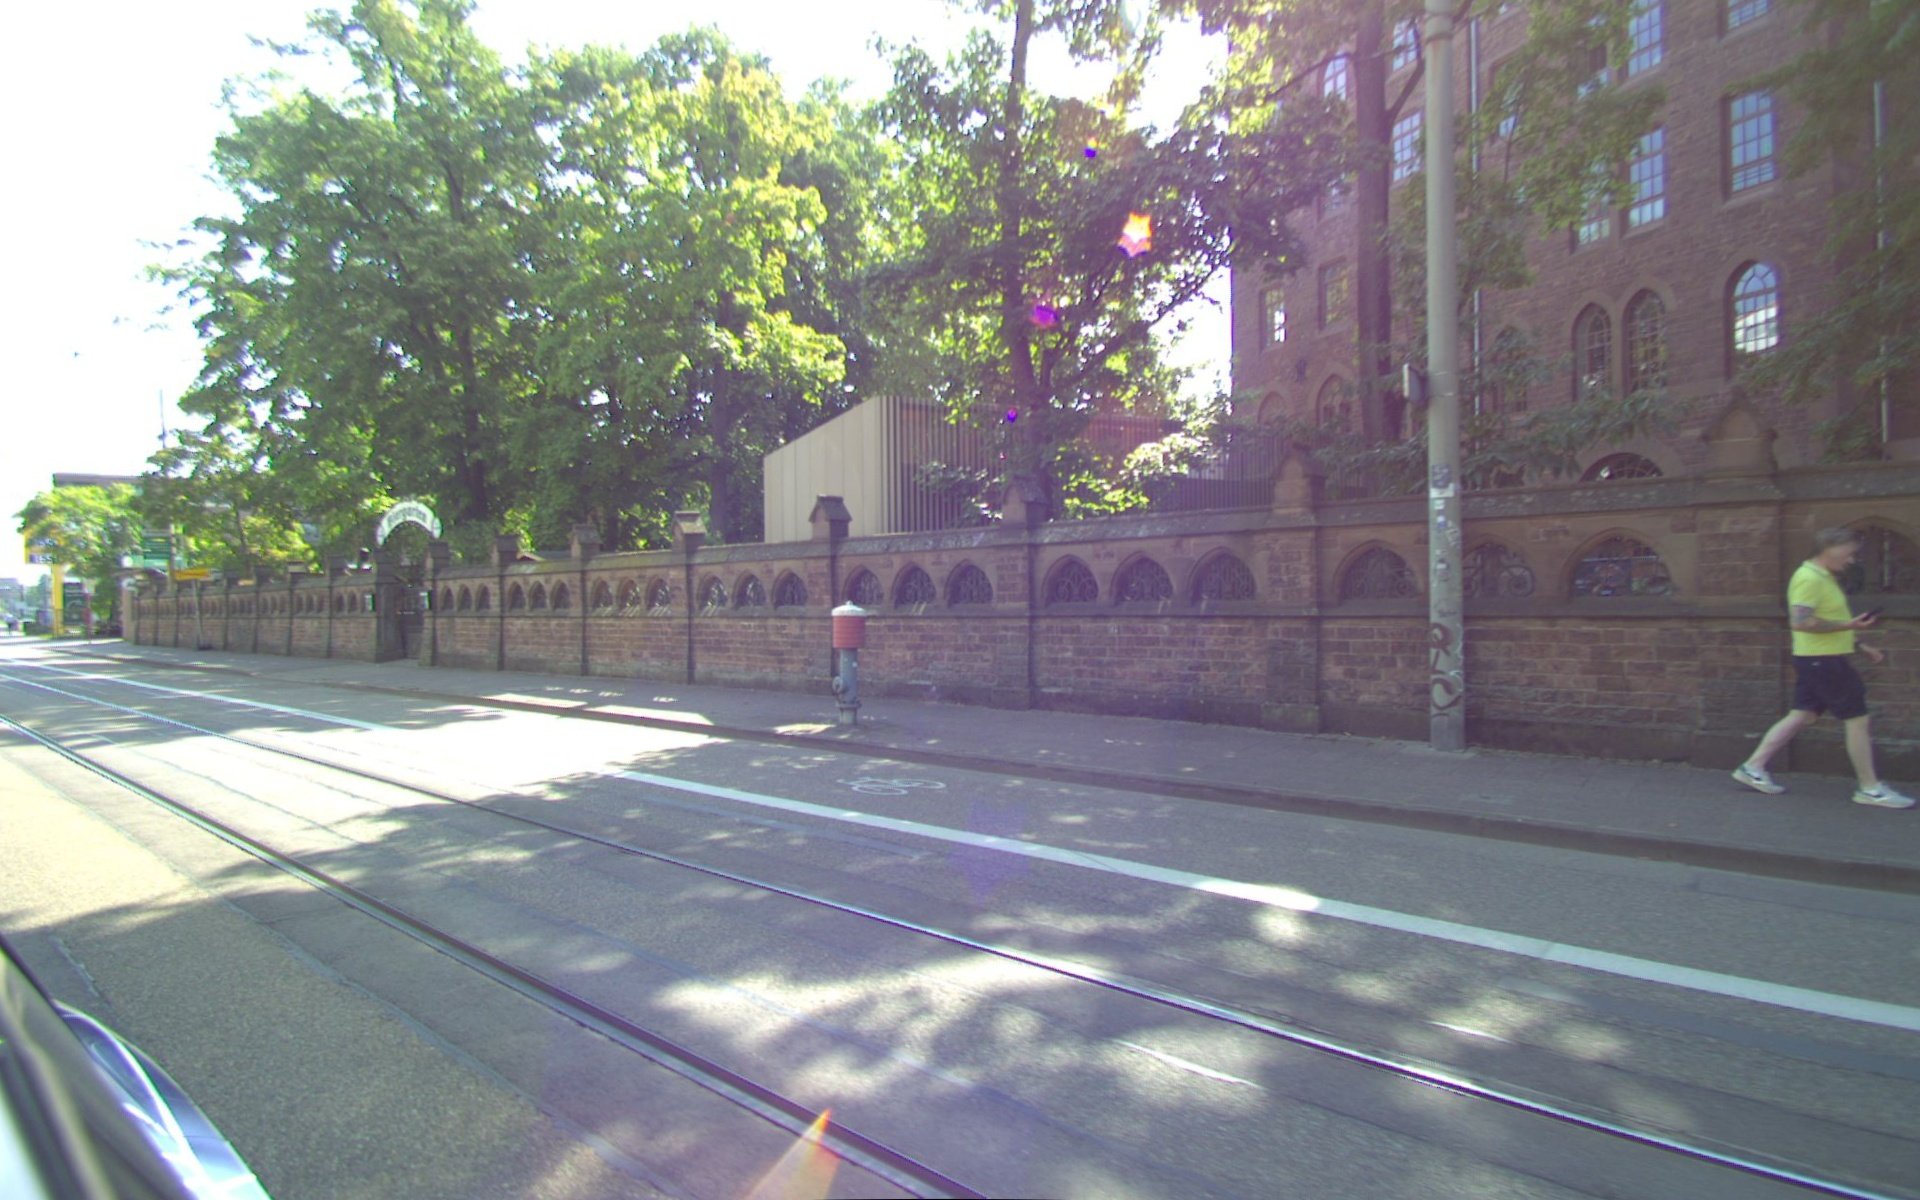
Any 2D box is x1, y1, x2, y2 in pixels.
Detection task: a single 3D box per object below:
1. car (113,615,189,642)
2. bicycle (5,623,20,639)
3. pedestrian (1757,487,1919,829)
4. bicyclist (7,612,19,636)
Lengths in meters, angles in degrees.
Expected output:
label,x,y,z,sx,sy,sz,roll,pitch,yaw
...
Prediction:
label,x,y,z,sx,sy,sz,roll,pitch,yaw
car,-48.105,1.671,60.303,1.905,1.472,4.540,-1,0,-15
bicycle,-78.003,2.571,83.325,0.776,1.249,2.037,-2,1,-40
pedestrian,5.748,0.341,6.484,0.982,2.029,0.855,-1,0,39
bicyclist,-78.013,1.942,83.344,0.633,1.944,1.177,-1,0,-41
